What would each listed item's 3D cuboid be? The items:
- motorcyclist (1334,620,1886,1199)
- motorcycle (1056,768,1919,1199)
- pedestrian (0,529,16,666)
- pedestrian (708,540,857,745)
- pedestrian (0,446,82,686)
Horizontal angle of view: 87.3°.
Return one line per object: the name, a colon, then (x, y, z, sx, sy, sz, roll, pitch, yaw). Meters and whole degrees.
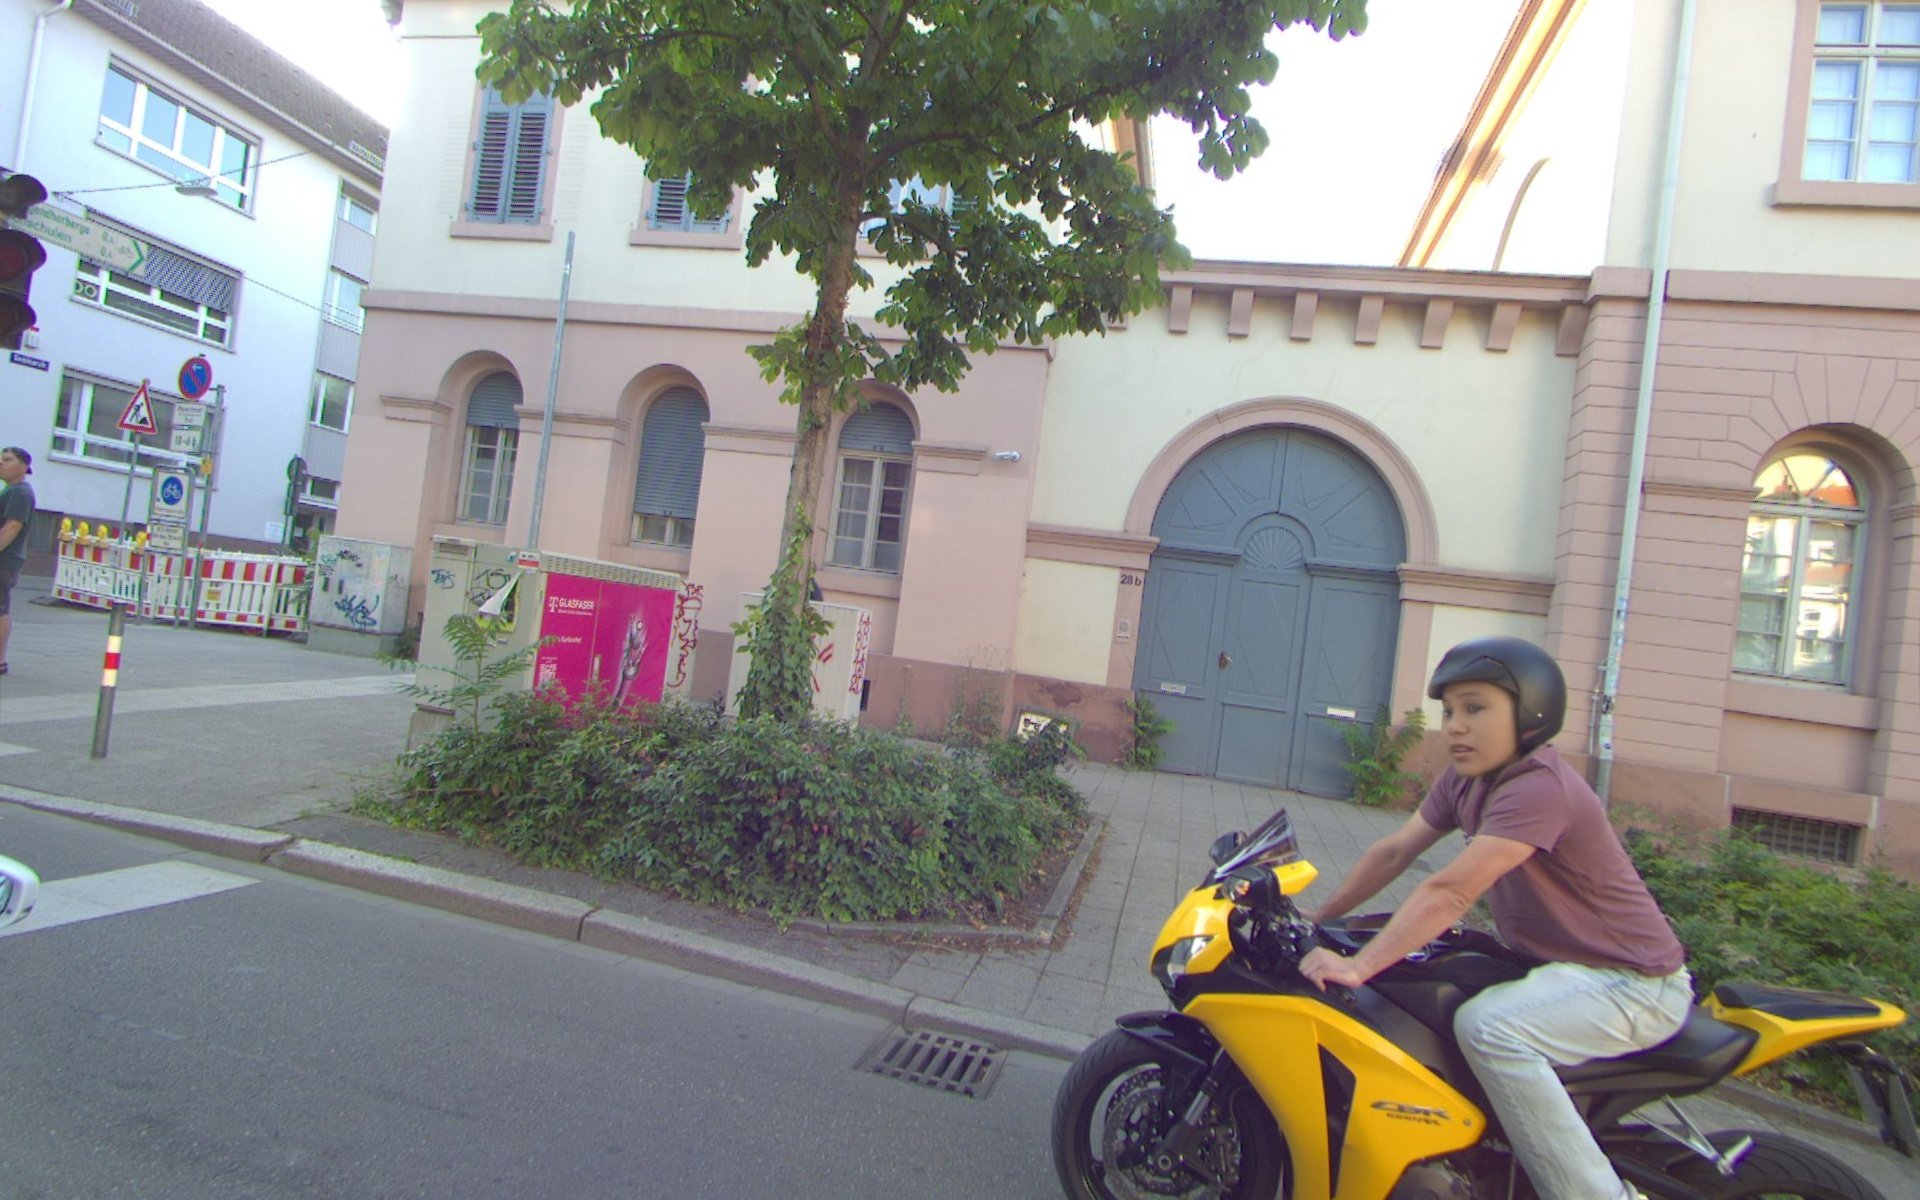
motorcyclist: (1.382, 0.828, 2.320, 0.685, 1.436, 0.795, 7, -2, 10)
motorcycle: (1.257, 1.175, 2.434, 1.929, 1.173, 0.795, 7, -2, 10)
pedestrian: (-8.407, -0.075, 8.177, 0.821, 1.134, 0.567, 8, 0, 3)
pedestrian: (-1.775, 0.414, 10.171, 1.062, 1.862, 0.801, 7, 2, 12)
pedestrian: (-7.752, -0.315, 8.068, 0.885, 1.837, 0.784, 8, 1, -42)
